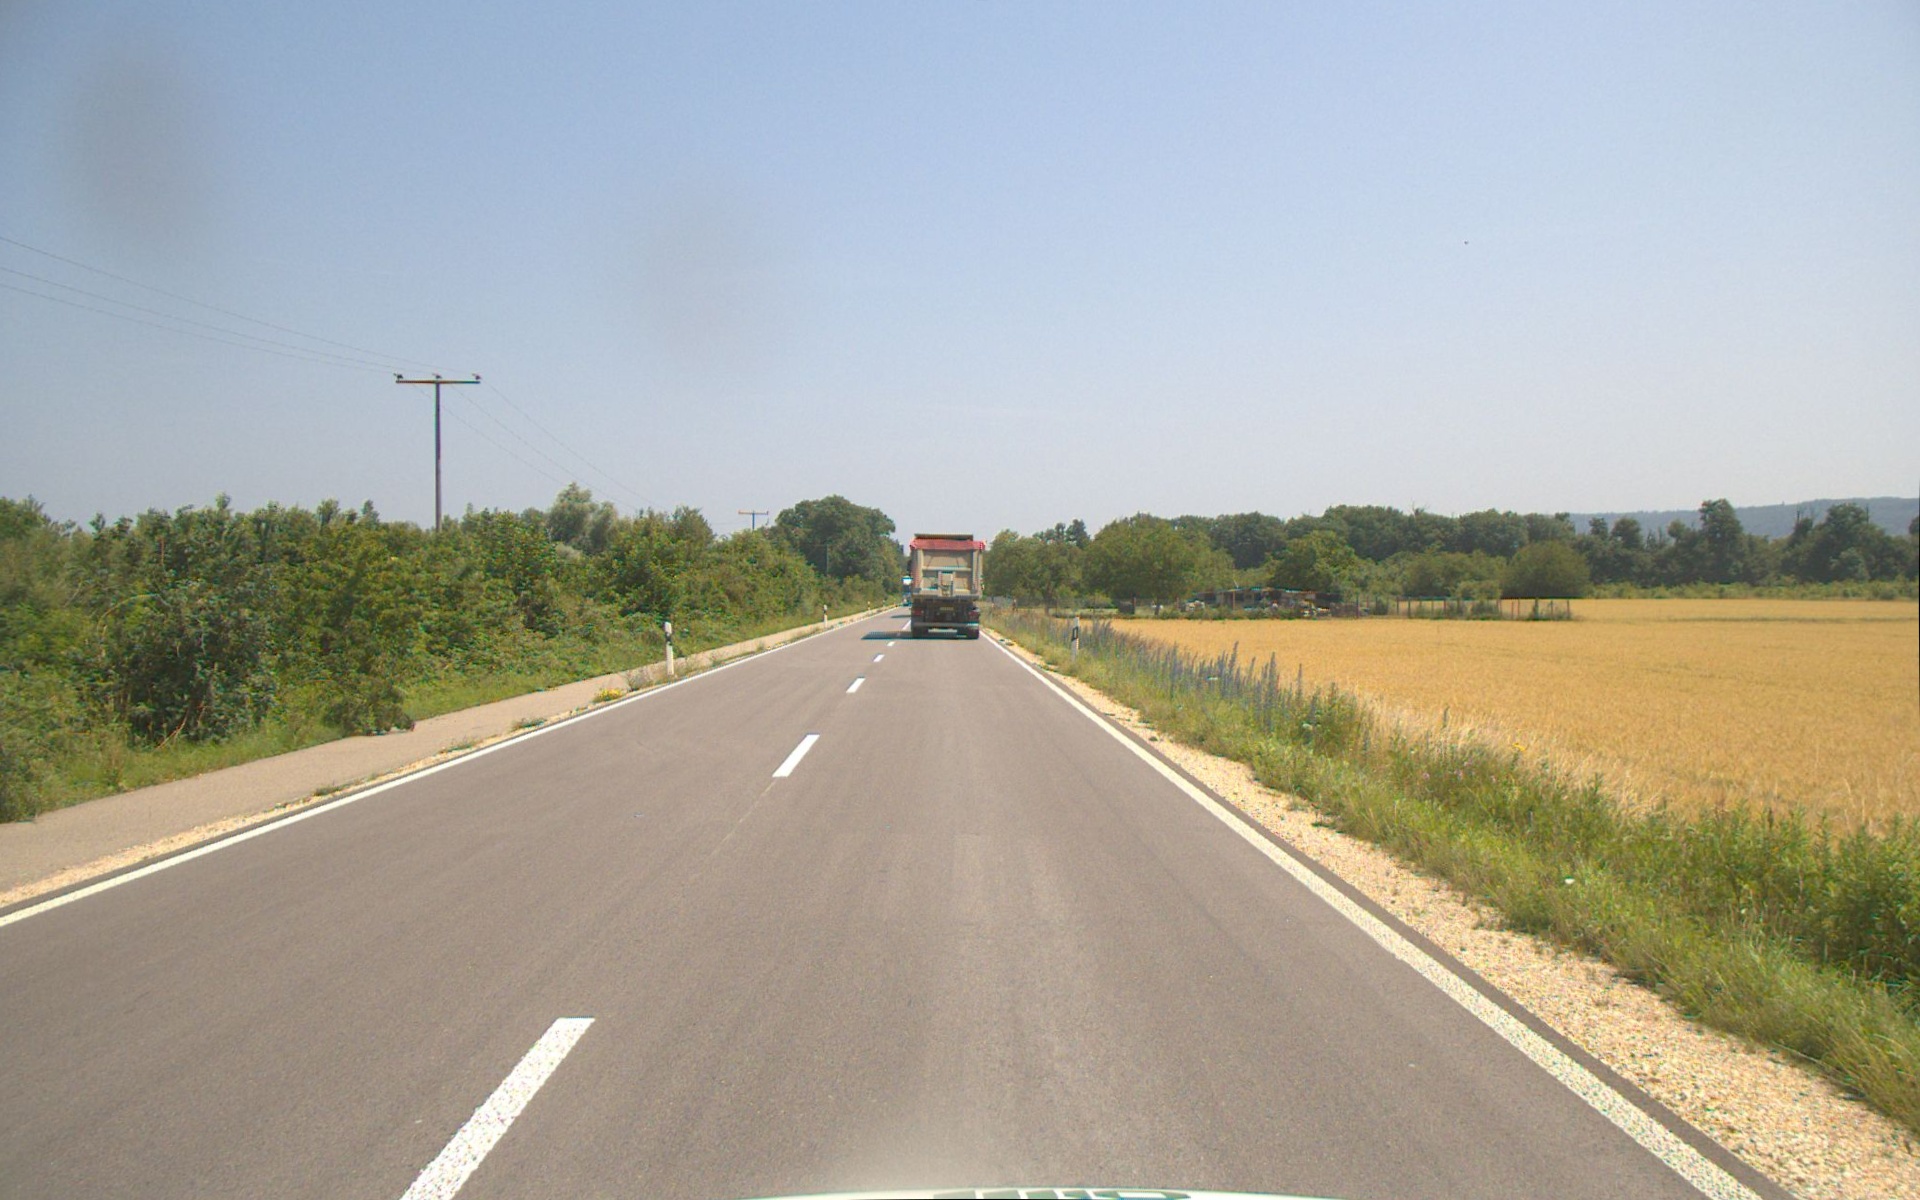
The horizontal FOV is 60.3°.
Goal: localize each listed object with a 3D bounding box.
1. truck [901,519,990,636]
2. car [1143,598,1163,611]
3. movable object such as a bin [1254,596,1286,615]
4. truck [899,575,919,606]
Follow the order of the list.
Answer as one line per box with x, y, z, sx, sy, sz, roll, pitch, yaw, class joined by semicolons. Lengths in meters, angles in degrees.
-0.609;-0.751;63.210;2.948;3.942;12.206;2;0;-1;truck
23.641;0.589;202.959;1.563;1.512;3.421;0;1;-9;car
24.378;0.428;130.084;1.540;1.522;3.654;0;0;-6;movable object such as a bin
-7.465;-1.342;241.599;2.662;4.340;7.388;-2;0;-1;truck
